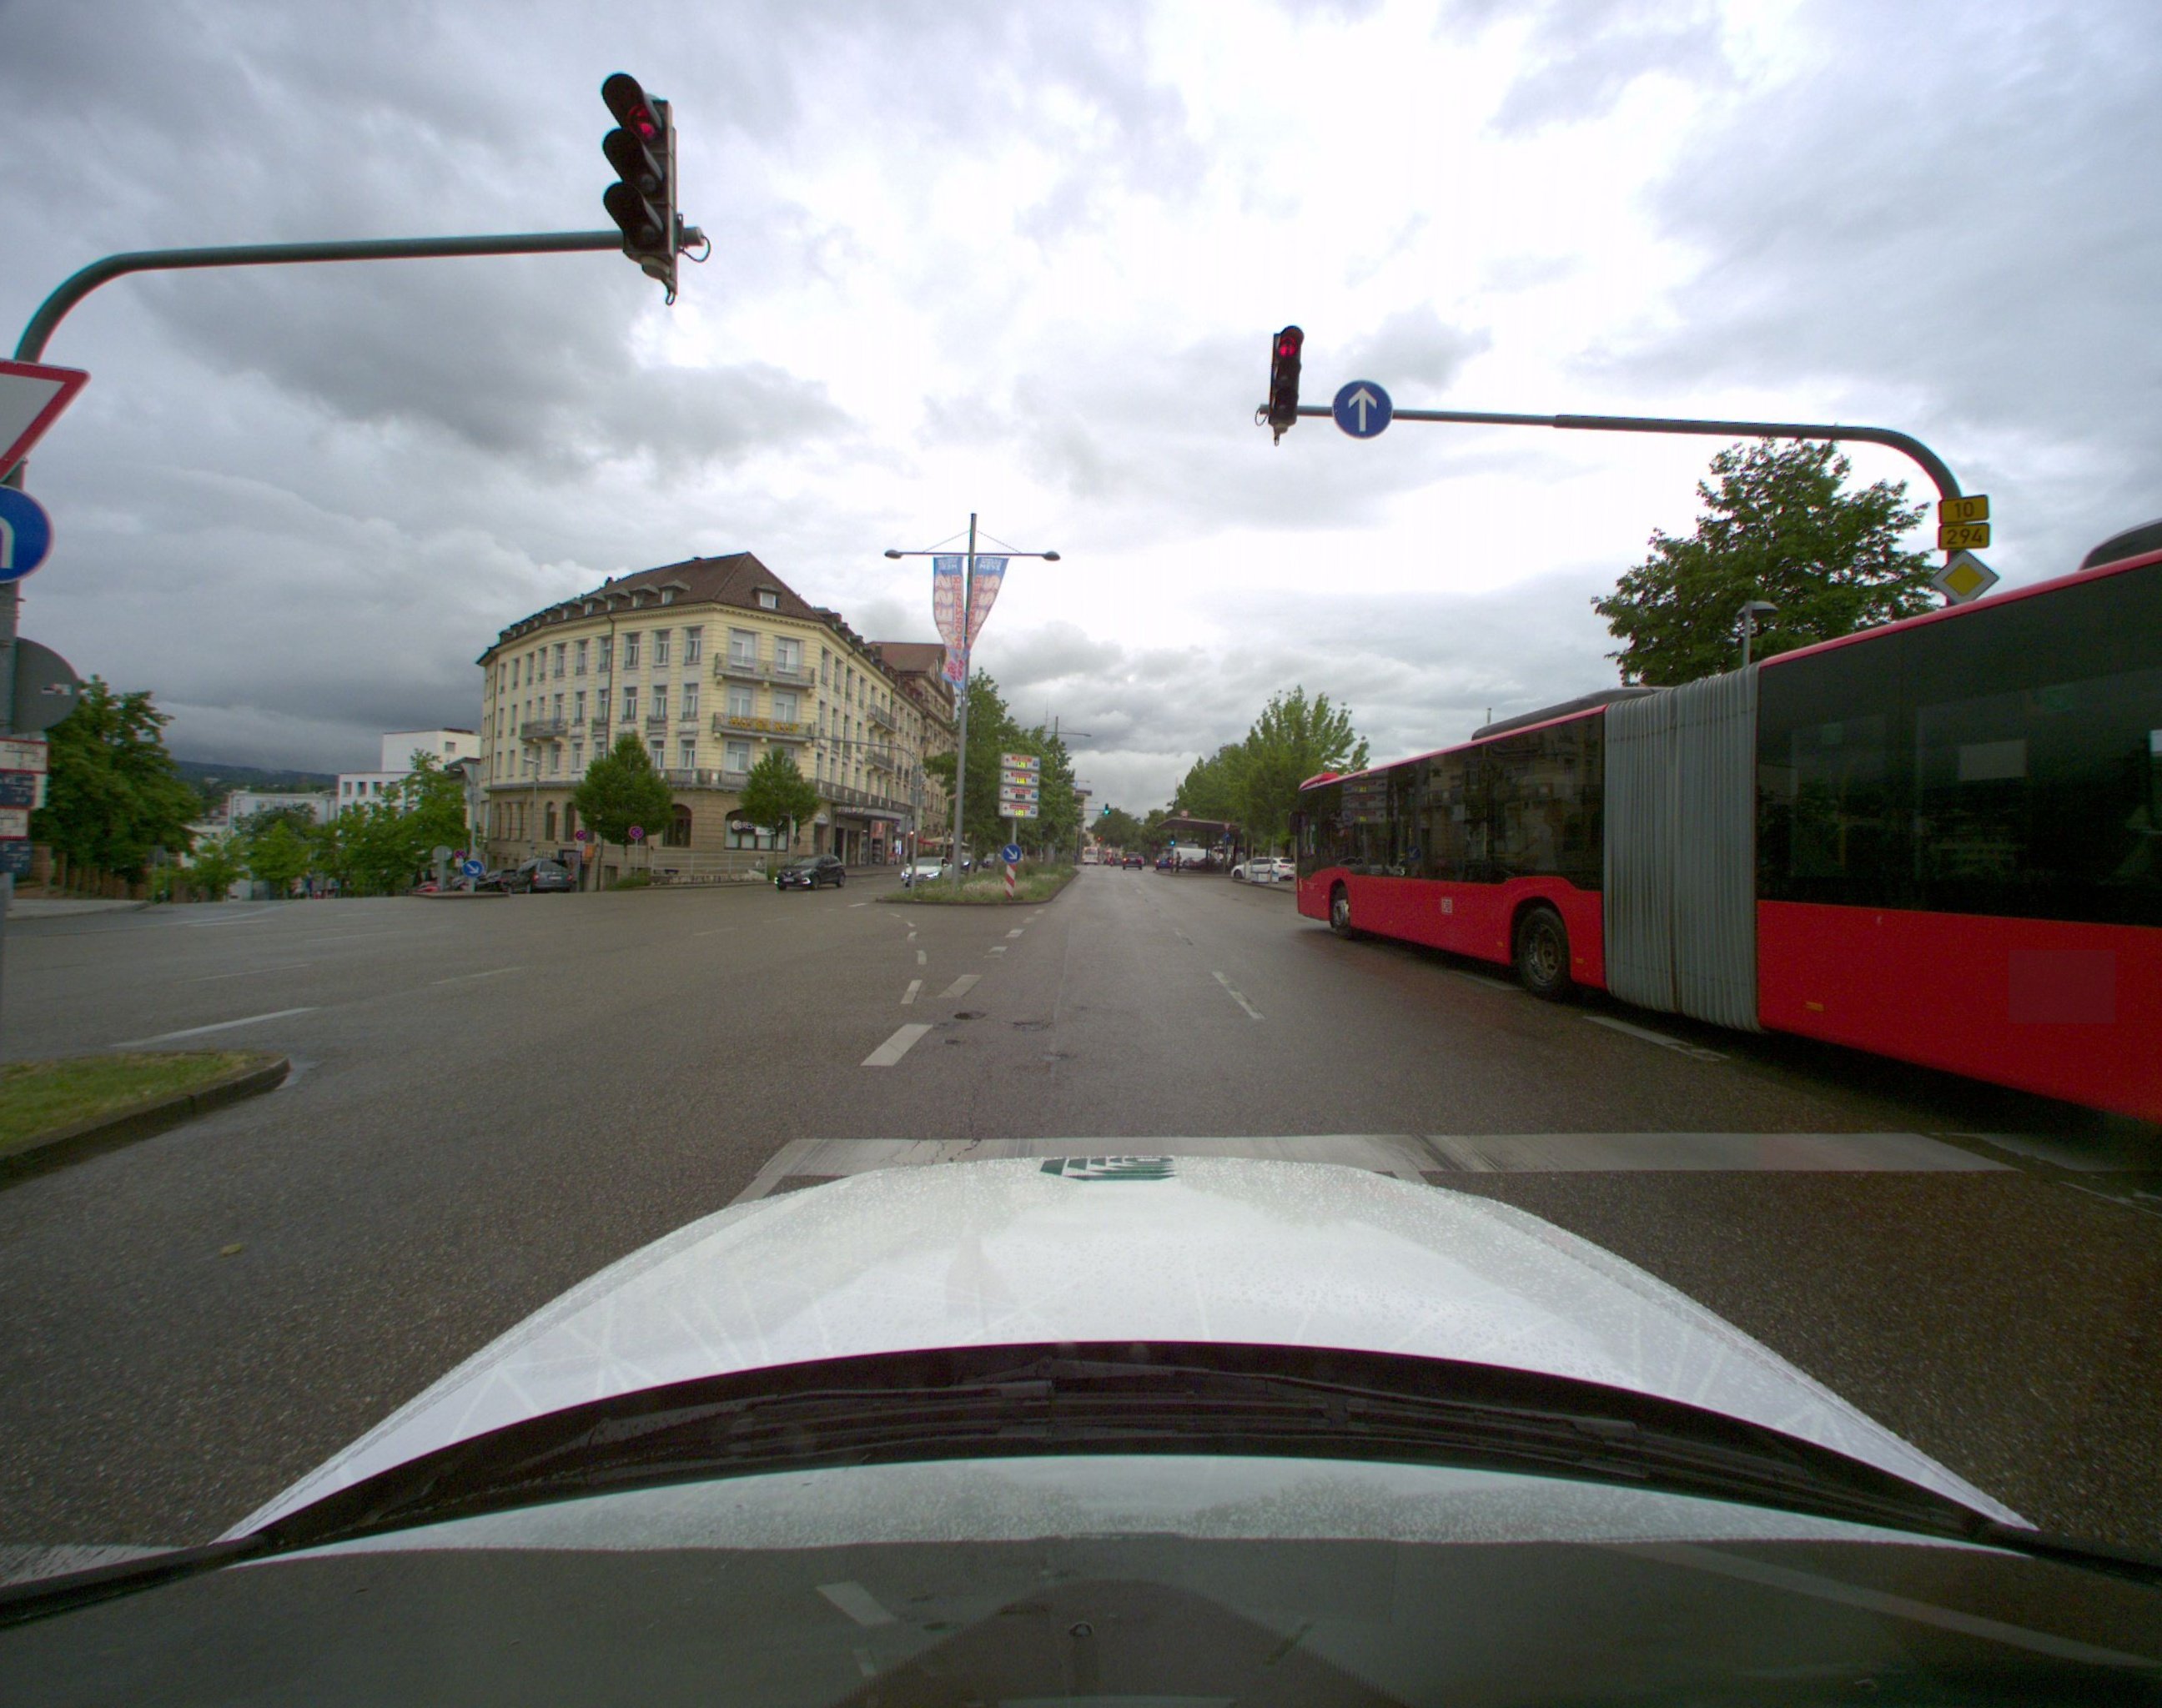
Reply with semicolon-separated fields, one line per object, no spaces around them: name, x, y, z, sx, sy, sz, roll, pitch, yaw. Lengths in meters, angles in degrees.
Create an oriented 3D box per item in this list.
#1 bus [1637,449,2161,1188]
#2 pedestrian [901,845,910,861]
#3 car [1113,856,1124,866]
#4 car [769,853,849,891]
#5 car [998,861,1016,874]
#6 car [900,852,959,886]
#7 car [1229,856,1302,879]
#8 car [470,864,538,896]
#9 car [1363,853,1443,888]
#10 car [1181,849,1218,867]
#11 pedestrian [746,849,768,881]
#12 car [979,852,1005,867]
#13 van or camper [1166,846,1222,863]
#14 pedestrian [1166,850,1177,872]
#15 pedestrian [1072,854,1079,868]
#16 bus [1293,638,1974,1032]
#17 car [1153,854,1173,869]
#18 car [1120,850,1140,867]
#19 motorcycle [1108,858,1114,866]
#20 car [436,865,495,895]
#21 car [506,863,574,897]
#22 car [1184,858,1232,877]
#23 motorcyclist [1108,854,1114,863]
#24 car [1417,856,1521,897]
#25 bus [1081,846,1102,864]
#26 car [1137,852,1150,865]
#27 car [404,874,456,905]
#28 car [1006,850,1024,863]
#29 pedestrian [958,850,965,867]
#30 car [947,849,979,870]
bus;6.014;-0.155;2.732;2.734;3.174;8.118;0;0;-1
pedestrian;-16.168;-0.094;74.999;0.666;1.510;0.513;0;-1;-36
car;6.050;1.092;130.237;1.702;1.448;4.001;0;0;2
car;-12.213;0.761;36.851;1.761;1.530;4.089;1;1;8
car;-8.215;1.467;91.229;1.750;1.369;4.057;0;0;-2
car;-7.502;0.702;40.701;1.717;1.381;4.866;0;3;4
car;11.490;0.795;50.934;1.788;1.385;4.318;0;0;-39
car;-31.966;1.418;45.100;3.948;1.640;2.013;-1;-1;37
car;14.889;0.721;37.948;1.907;1.524;4.741;0;0;0
car;14.028;0.456;96.498;3.998;2.013;1.988;0;0;-18
pedestrian;-19.075;0.651;48.017;0.860;1.878;1.023;0;0;1
car;-8.479;0.503;77.853;1.747;1.441;4.064;0;0;4
van or camper;14.236;0.094;102.687;6.787;2.014;2.366;0;-1;-25
pedestrian;7.415;0.606;66.669;0.717;1.791;0.663;0;0;-10
pedestrian;-0.658;0.860;102.664;0.754;1.701;0.561;0;0;8
bus;5.828;-0.150;11.708;2.735;3.174;10.189;0;0;-1
car;8.564;0.766;85.366;1.809;1.530;4.001;0;0;2
car;5.137;0.464;86.048;1.986;1.806;4.691;0;0;2
motorcycle;4.181;1.115;113.804;0.763;1.077;2.176;0;0;2
car;-36.308;1.494;48.022;3.864;1.640;1.805;0;0;37
car;-27.097;1.274;40.760;3.949;1.568;1.812;0;0;41
car;12.826;1.396;82.128;4.348;1.857;1.988;0;0;-18
motorcyclist;4.179;0.616;113.810;0.761;1.331;0.867;0;0;2
car;14.790;0.796;31.365;1.840;1.452;4.666;0;0;0
bus;1.864;0.149;153.563;3.748;3.209;15.521;0;0;0
car;9.765;0.689;127.416;1.781;1.860;4.001;0;0;2
car;-41.184;2.210;51.482;3.575;1.812;1.788;0;0;38
car;-8.324;0.325;102.989;1.747;1.368;4.067;0;4;4
pedestrian;-11.991;0.457;81.793;0.573;1.732;0.609;0;0;1
car;-8.908;0.401;61.757;1.623;1.476;4.030;0;0;4
